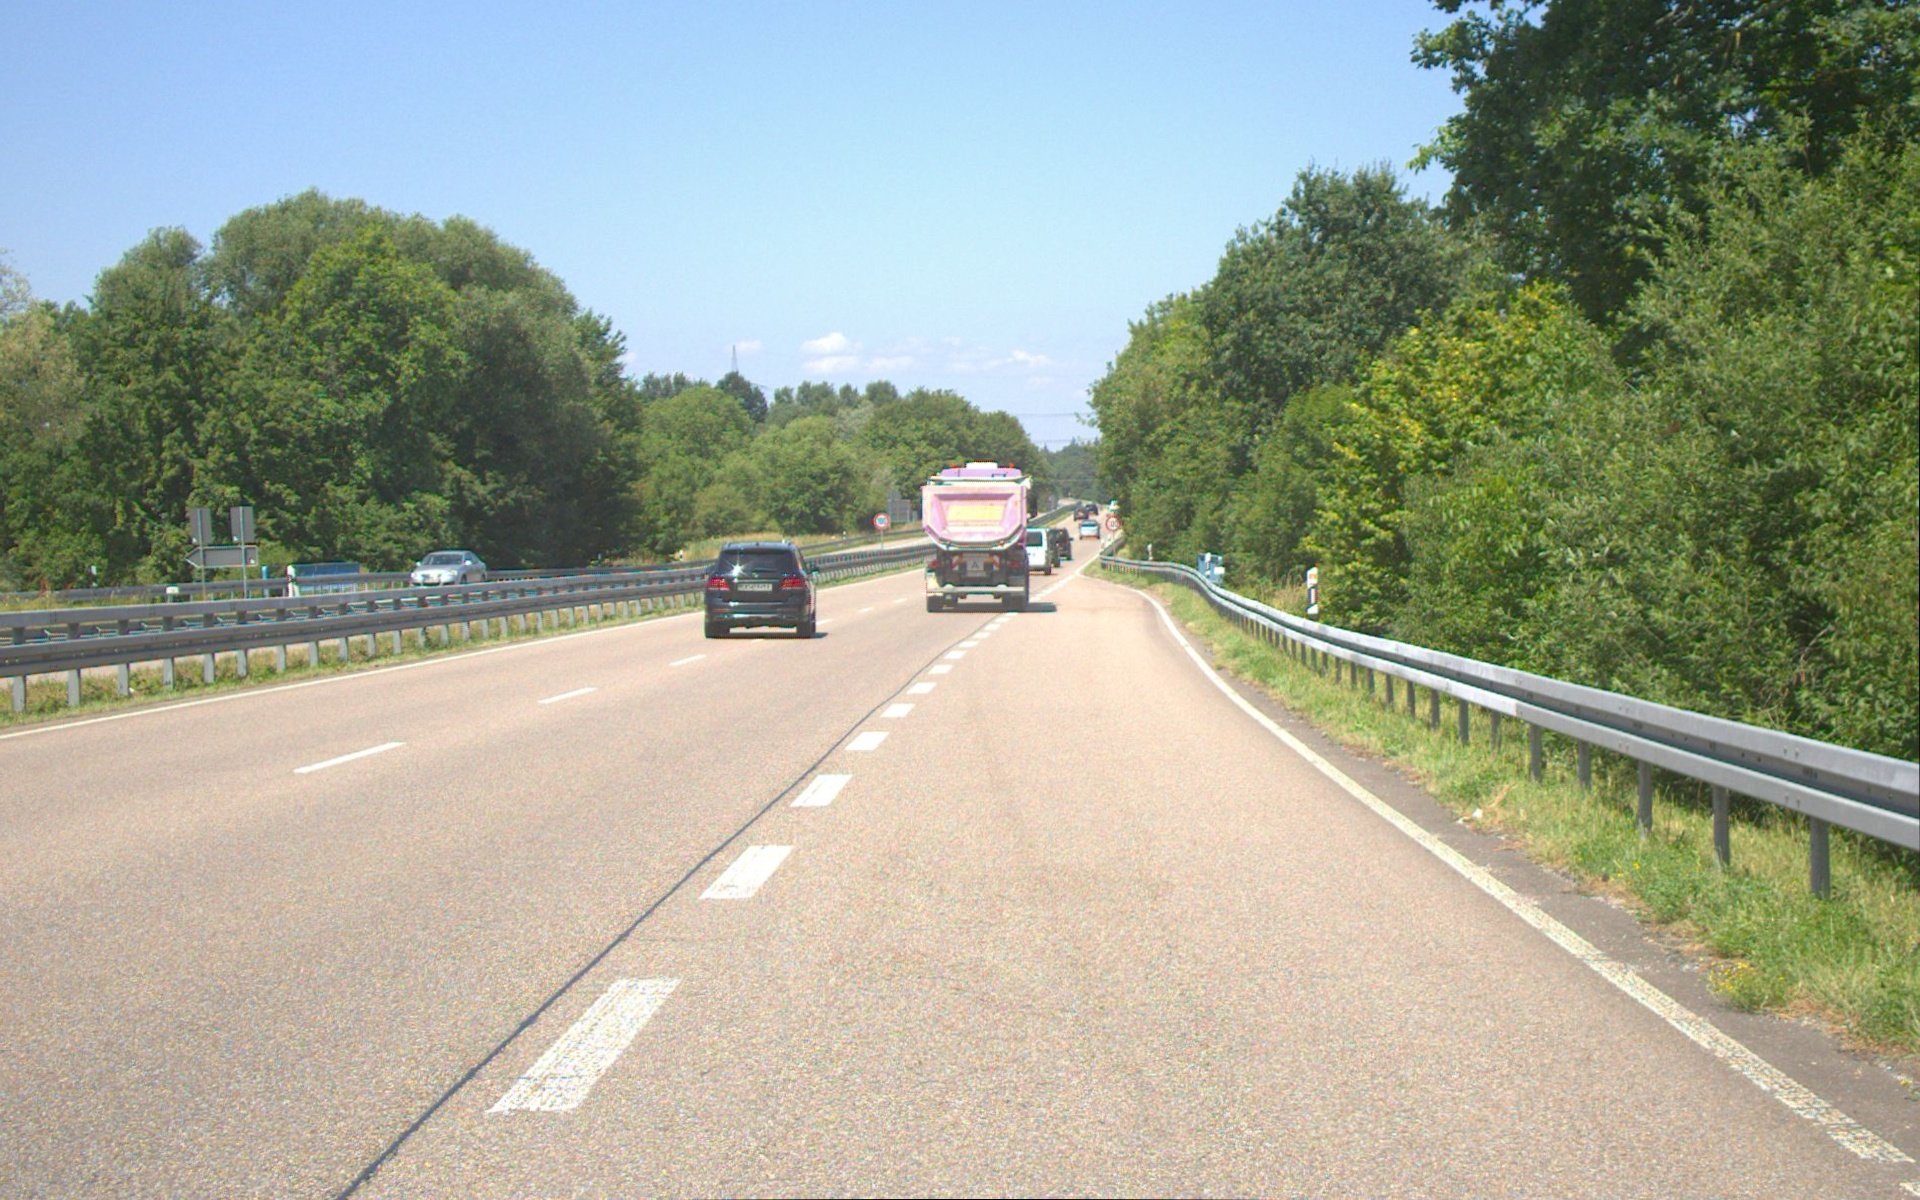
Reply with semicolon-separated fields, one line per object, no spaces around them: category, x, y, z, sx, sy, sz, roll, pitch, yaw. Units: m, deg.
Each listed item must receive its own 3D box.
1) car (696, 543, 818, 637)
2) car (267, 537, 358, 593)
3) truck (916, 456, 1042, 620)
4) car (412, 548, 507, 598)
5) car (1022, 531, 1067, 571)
car;-3.710;-0.187;63.370;1.857;1.665;4.000;0;0;2
car;-17.508;-0.935;93.073;1.918;1.484;4.000;0;0;-3
truck;0.601;-1.695;88.861;2.720;3.916;12.370;0;2;3
car;-16.961;-0.923;116.712;1.725;1.639;4.941;0;1;10
car;3.618;-2.062;146.606;1.857;1.665;4.000;0;0;2
